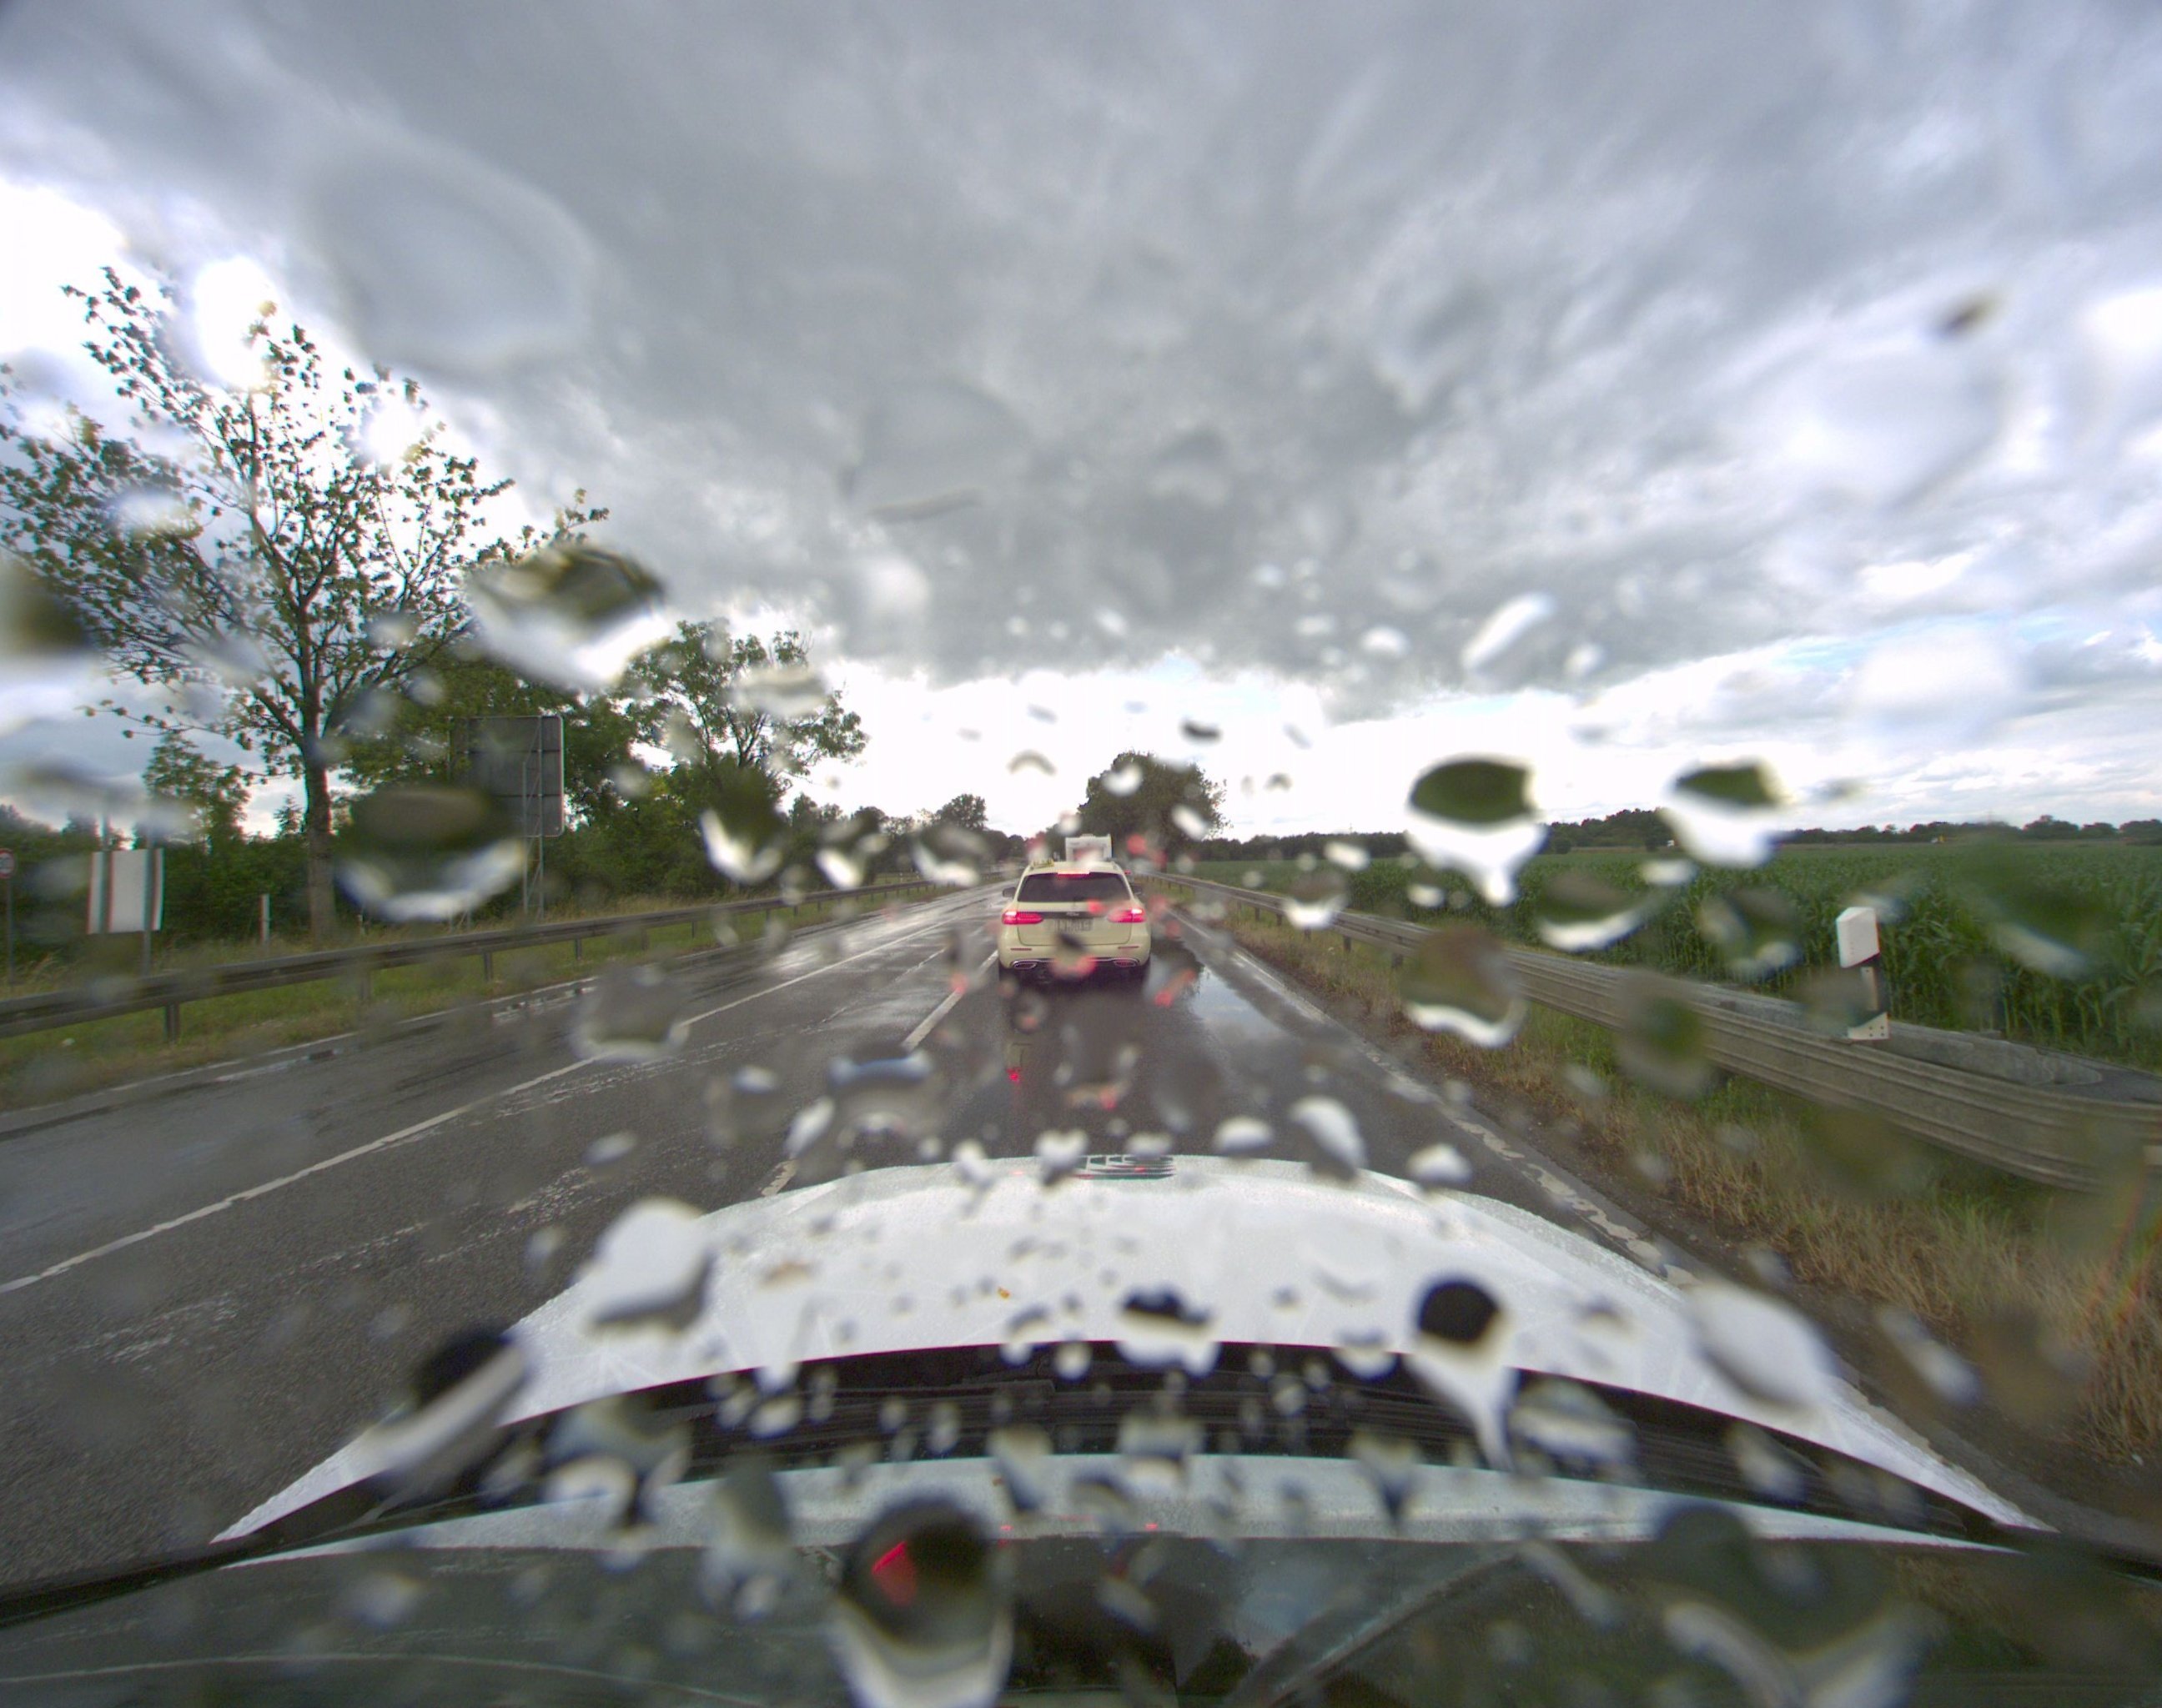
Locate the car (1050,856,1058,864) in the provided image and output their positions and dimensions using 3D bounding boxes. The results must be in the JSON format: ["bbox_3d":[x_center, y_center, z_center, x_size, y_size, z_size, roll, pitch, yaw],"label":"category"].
[{"bbox_3d":[-6.939,1.497,206.840,1.988,2.014,3.998,-1,0,-1],"label":"car"}]

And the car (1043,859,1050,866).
[{"bbox_3d":[-10.381,2.458,242.315,1.990,2.013,3.994,-1,0,-4],"label":"car"}]

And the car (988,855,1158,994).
[{"bbox_3d":[-0.008,0.780,10.935,1.818,1.485,4.147,-1,0,2],"label":"car"}]

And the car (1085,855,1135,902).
[{"bbox_3d":[0.992,0.816,28.795,1.621,1.529,3.933,-2,0,1],"label":"car"}]

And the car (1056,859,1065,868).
[{"bbox_3d":[-4.843,2.198,194.304,1.986,2.051,4.002,-1,0,2],"label":"car"}]

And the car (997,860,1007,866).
[{"bbox_3d":[-20.166,2.304,208.489,1.986,1.651,4.002,-1,0,2],"label":"car"}]

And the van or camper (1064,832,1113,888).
[{"bbox_3d":[0.430,0.293,42.561,2.342,2.680,5.769,-1,0,1],"label":"van or camper"}]
